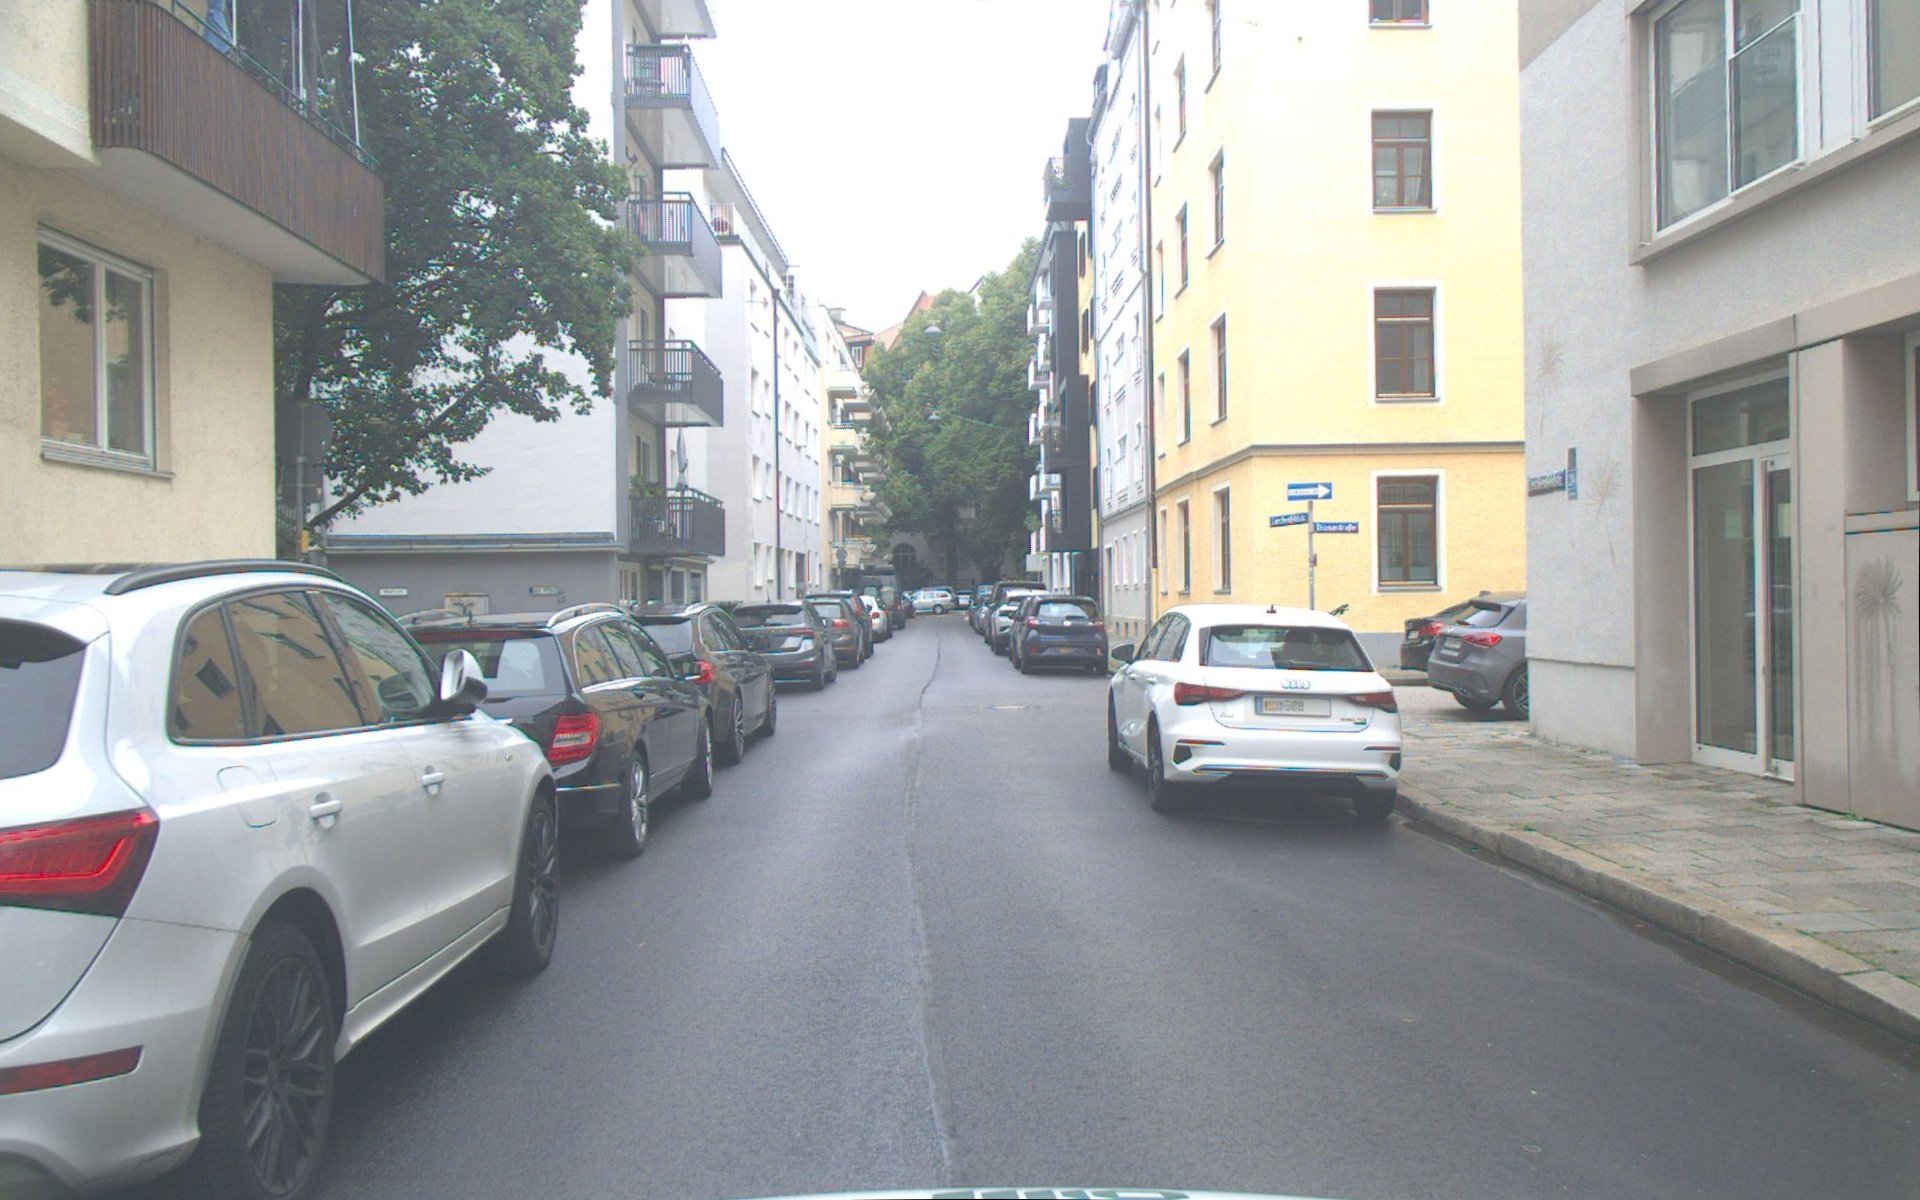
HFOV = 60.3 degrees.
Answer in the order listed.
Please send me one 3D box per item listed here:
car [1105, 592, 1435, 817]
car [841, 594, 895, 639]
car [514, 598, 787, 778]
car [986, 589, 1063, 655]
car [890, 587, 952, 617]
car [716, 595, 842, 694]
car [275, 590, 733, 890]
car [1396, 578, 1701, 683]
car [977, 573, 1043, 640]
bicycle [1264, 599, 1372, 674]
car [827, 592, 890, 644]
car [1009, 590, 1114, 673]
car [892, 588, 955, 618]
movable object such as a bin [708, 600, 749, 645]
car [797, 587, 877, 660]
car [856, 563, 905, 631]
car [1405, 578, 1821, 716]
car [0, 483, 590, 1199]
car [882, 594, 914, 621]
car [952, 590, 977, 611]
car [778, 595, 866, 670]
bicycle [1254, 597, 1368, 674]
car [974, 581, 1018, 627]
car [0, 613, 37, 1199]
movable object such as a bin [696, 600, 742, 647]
[{"bbox_3d":[2.224,0.684,12.905,1.782,1.433,3.951,0,1,-1],"label":"car"},{"bbox_3d":[-3.288,0.567,59.667,1.741,1.478,4.045,-4,0,-1],"label":"car"},{"bbox_3d":[-2.840,0.738,16.150,1.818,1.433,4.382,-2,0,0],"label":"car"},{"bbox_3d":[1.629,0.528,42.926,1.648,1.595,4.414,2,0,-2],"label":"car"},{"bbox_3d":[-2.461,0.132,104.846,3.808,1.612,1.647,-4,0,-2],"label":"car"},{"bbox_3d":[-2.971,0.691,27.840,1.658,1.467,3.942,-2,0,0],"label":"car"},{"bbox_3d":[-2.694,0.720,10.880,1.729,1.509,4.424,-2,1,0],"label":"car"},{"bbox_3d":[9.095,0.465,25.771,4.128,1.520,1.710,-1,-1,-3],"label":"car"},{"bbox_3d":[1.476,0.172,50.549,1.792,1.943,4.415,1,0,-1],"label":"car"},{"bbox_3d":[5.898,0.600,27.249,1.679,1.159,0.374,-2,2,-2],"label":"bicycle"},{"bbox_3d":[-3.295,0.558,54.456,1.741,1.512,4.519,-4,0,0],"label":"car"},{"bbox_3d":[1.964,0.582,33.126,1.715,1.495,4.342,2,0,-1],"label":"car"},{"bbox_3d":[-2.286,0.185,102.879,3.808,1.612,1.647,-4,0,-2],"label":"car"},{"bbox_3d":[-7.239,0.698,51.719,1.026,1.360,0.993,-3,0,2],"label":"movable object such as a bin"},{"bbox_3d":[-3.026,0.549,41.428,1.741,1.657,4.413,-2,0,-1],"label":"car"},{"bbox_3d":[-3.540,-0.142,74.333,1.897,2.850,4.531,-3,0,-1],"label":"car"},{"bbox_3d":[7.596,0.506,19.507,4.121,1.424,1.999,-1,2,-4],"label":"car"},{"bbox_3d":[-2.467,0.675,5.150,1.730,1.704,4.365,-2,0,-2],"label":"car"},{"bbox_3d":[-3.462,0.400,92.828,1.609,1.407,3.481,-4,0,-1],"label":"car"},{"bbox_3d":[0.328,0.056,119.908,1.609,1.407,3.745,-4,0,-1],"label":"car"},{"bbox_3d":[-2.917,0.645,35.603,1.659,1.467,3.975,-2,0,-2],"label":"car"},{"bbox_3d":[5.870,0.594,27.724,1.772,1.194,0.505,-2,2,-3],"label":"bicycle"},{"bbox_3d":[1.666,0.162,77.290,1.792,2.034,4.414,2,0,-1],"label":"car"},{"bbox_3d":[-2.096,0.764,0.427,1.618,1.461,3.802,-2,0,-1],"label":"car"},{"bbox_3d":[-7.373,0.713,50.640,1.142,1.360,1.025,-3,0,2],"label":"movable object such as a bin"}]
